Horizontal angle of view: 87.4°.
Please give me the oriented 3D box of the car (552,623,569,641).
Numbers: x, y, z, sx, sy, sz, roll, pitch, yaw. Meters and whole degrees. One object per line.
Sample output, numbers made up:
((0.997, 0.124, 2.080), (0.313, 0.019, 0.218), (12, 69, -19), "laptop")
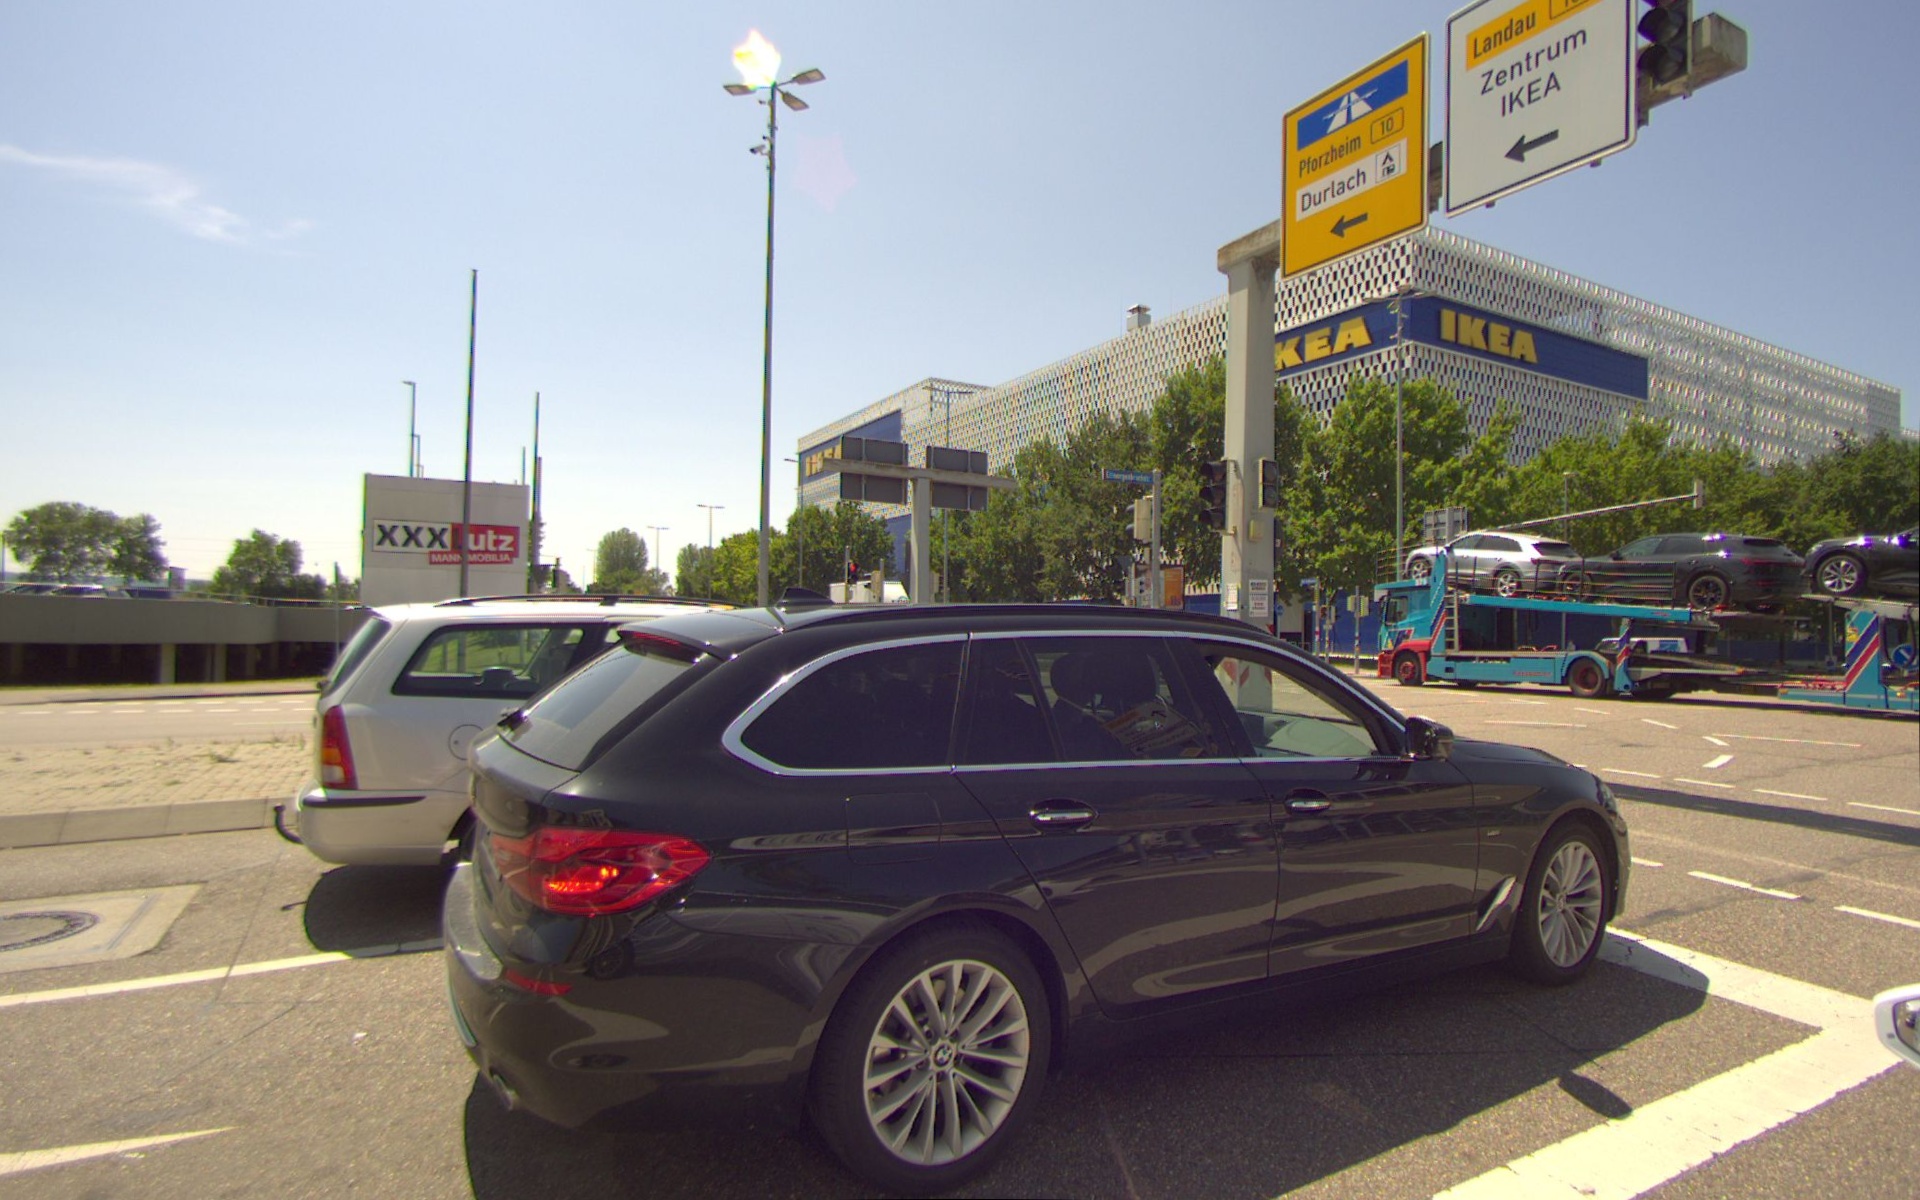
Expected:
((-44.660, 3.558, 112.392), (1.595, 2.040, 3.863), (1, -1, -20), "car")

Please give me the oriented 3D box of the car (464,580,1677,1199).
((0.686, 0.754, 3.920), (4.570, 1.485, 1.791), (1, -1, -31), "car")

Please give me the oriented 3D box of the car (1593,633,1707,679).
((31.763, 2.586, 46.270), (4.691, 2.034, 1.992), (2, -2, -20), "car")

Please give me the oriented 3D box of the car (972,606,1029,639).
((2.567, 1.429, 64.610), (1.974, 2.040, 3.973), (2, -1, -26), "car")

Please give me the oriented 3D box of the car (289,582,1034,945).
((-1.643, 0.736, 6.090), (3.962, 1.514, 1.785), (2, -1, -36), "car")

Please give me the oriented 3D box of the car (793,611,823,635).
((-13.436, 2.087, 88.422), (1.858, 2.040, 3.983), (2, -2, -19), "car")

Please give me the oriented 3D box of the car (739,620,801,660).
((-10.143, 2.106, 53.304), (1.975, 2.040, 4.681), (2, -2, -27), "car")

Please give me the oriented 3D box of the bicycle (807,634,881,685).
((-2.960, 1.479, 25.418), (0.987, 1.229, 2.079), (1, -2, -35), "bicycle")

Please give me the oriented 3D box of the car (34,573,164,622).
((-37.375, -0.068, 43.740), (3.953, 1.957, 1.984), (2, -2, -30), "car")

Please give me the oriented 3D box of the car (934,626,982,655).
((-0.161, 2.434, 61.340), (1.688, 1.673, 4.191), (1, -1, -19), "car")

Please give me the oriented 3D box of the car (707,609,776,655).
((-13.231, 1.939, 60.413), (2.542, 2.568, 6.587), (2, -2, -26), "car")

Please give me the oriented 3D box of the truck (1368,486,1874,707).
((14.902, 0.064, 24.348), (3.052, 4.136, 10.608), (2, -1, -19), "truck")

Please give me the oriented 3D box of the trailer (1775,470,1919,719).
((18.204, -0.084, 14.721), (3.047, 4.135, 9.603), (2, -1, -19), "trailer")

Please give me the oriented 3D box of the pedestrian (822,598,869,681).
((-2.886, 0.986, 25.305), (0.856, 2.040, 0.899), (1, -2, -35), "pedestrian")

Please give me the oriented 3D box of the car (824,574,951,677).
((-2.917, 0.933, 38.056), (2.156, 3.532, 6.875), (0, -1, -28), "car")

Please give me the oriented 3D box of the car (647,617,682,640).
((-25.684, 2.492, 87.151), (1.975, 1.930, 4.778), (1, -1, -28), "car")

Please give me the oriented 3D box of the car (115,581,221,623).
((-39.794, 0.143, 50.601), (3.956, 1.933, 1.983), (2, -2, -33), "car")

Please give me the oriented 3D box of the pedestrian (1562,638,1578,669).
((30.328, 2.649, 49.942), (0.477, 1.502, 0.460), (2, -2, -26), "pedestrian")

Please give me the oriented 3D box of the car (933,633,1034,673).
((0.798, 1.911, 36.925), (1.756, 1.360, 4.262), (1, -2, -30), "car")

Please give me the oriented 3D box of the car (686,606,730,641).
((-17.666, 1.693, 70.283), (1.972, 2.318, 5.848), (1, -2, -24), "car")

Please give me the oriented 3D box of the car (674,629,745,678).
((-8.506, 1.778, 33.928), (1.904, 1.528, 3.982), (1, -2, -20), "car")

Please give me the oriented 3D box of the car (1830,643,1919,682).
((40.557, 2.755, 44.412), (4.444, 1.619, 1.866), (2, -3, -31), "car")

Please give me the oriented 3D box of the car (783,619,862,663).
((-6.290, 1.826, 45.338), (1.973, 1.835, 5.438), (1, -2, -25), "car")
